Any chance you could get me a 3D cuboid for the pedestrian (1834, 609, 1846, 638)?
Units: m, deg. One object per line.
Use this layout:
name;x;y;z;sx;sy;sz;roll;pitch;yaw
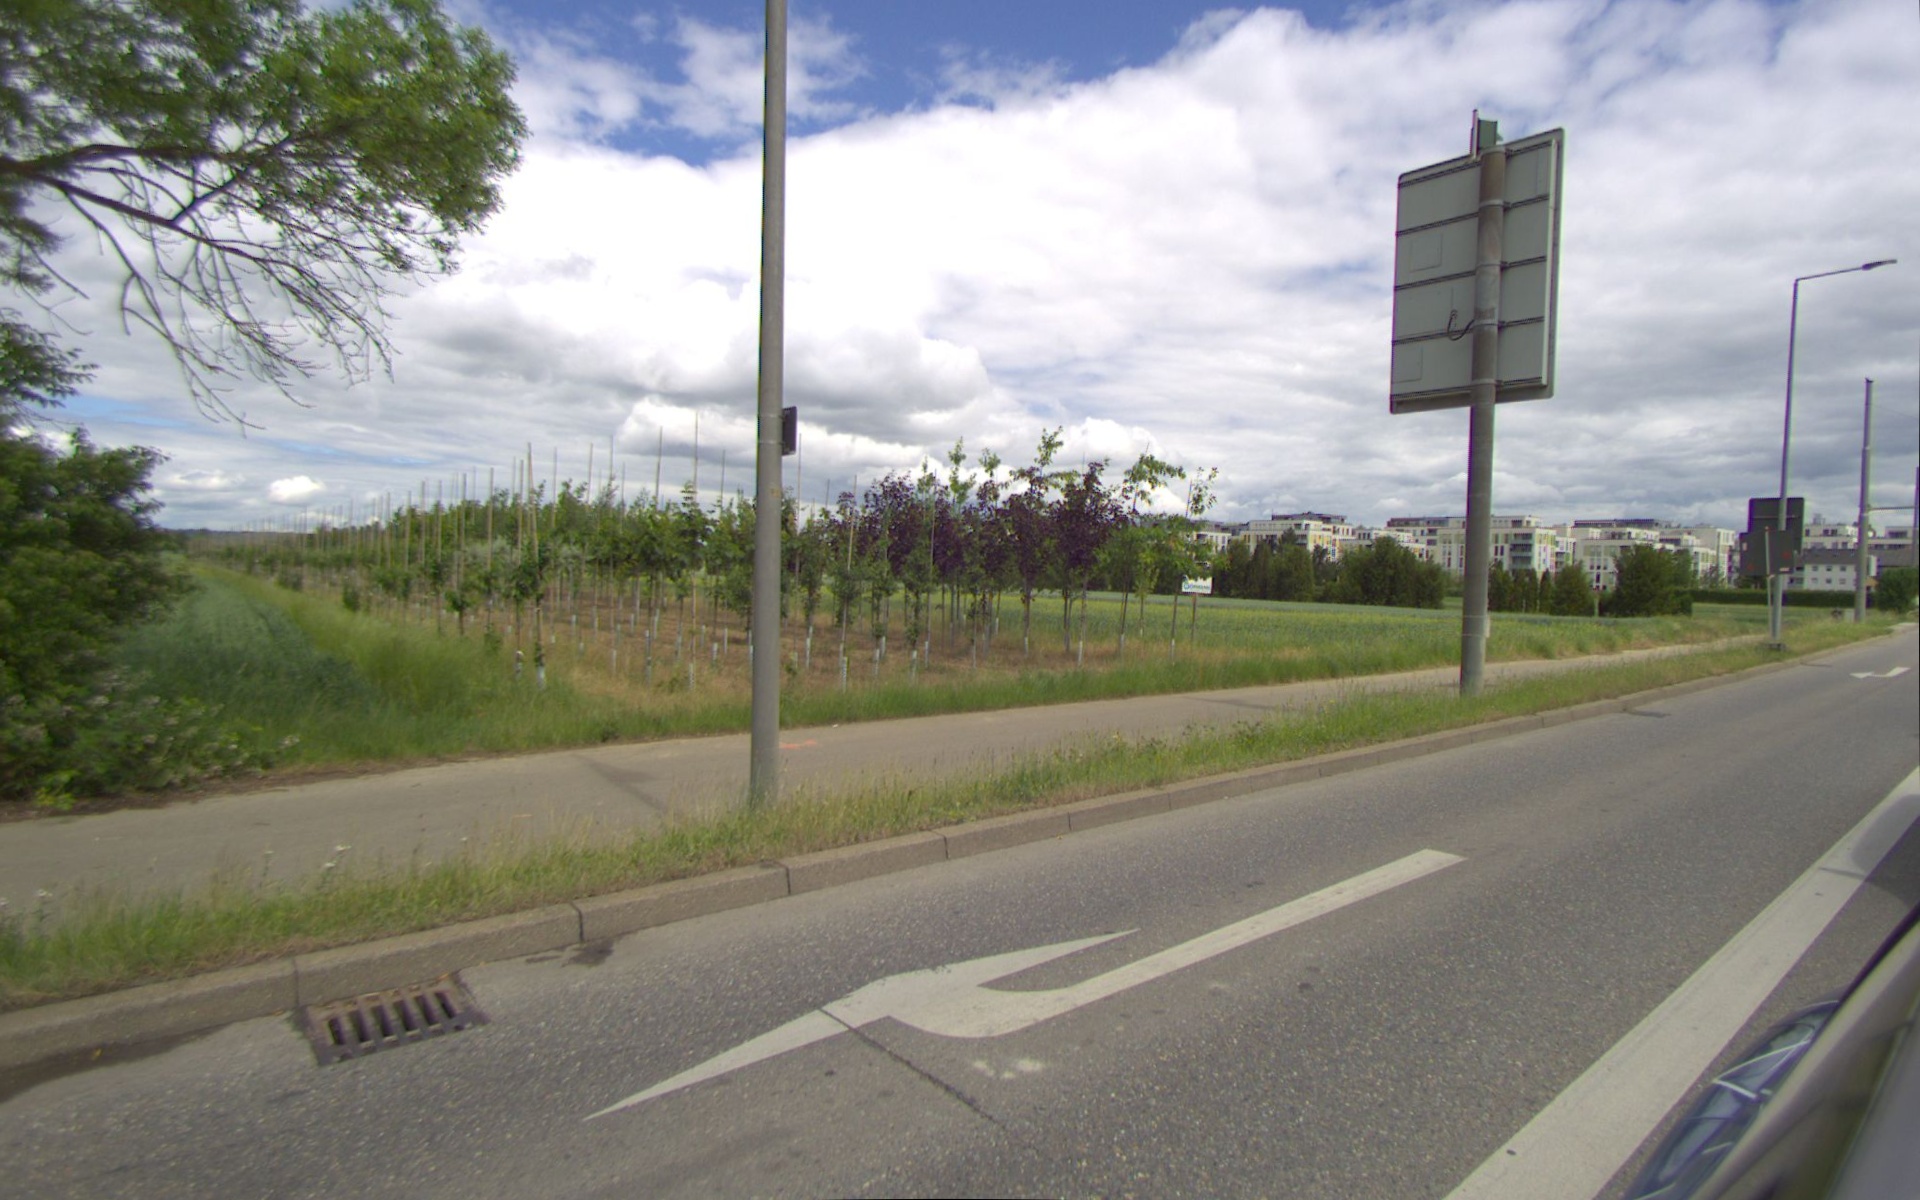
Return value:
pedestrian;52.612;1.383;60.508;0.615;1.724;0.492;0;0;-42
